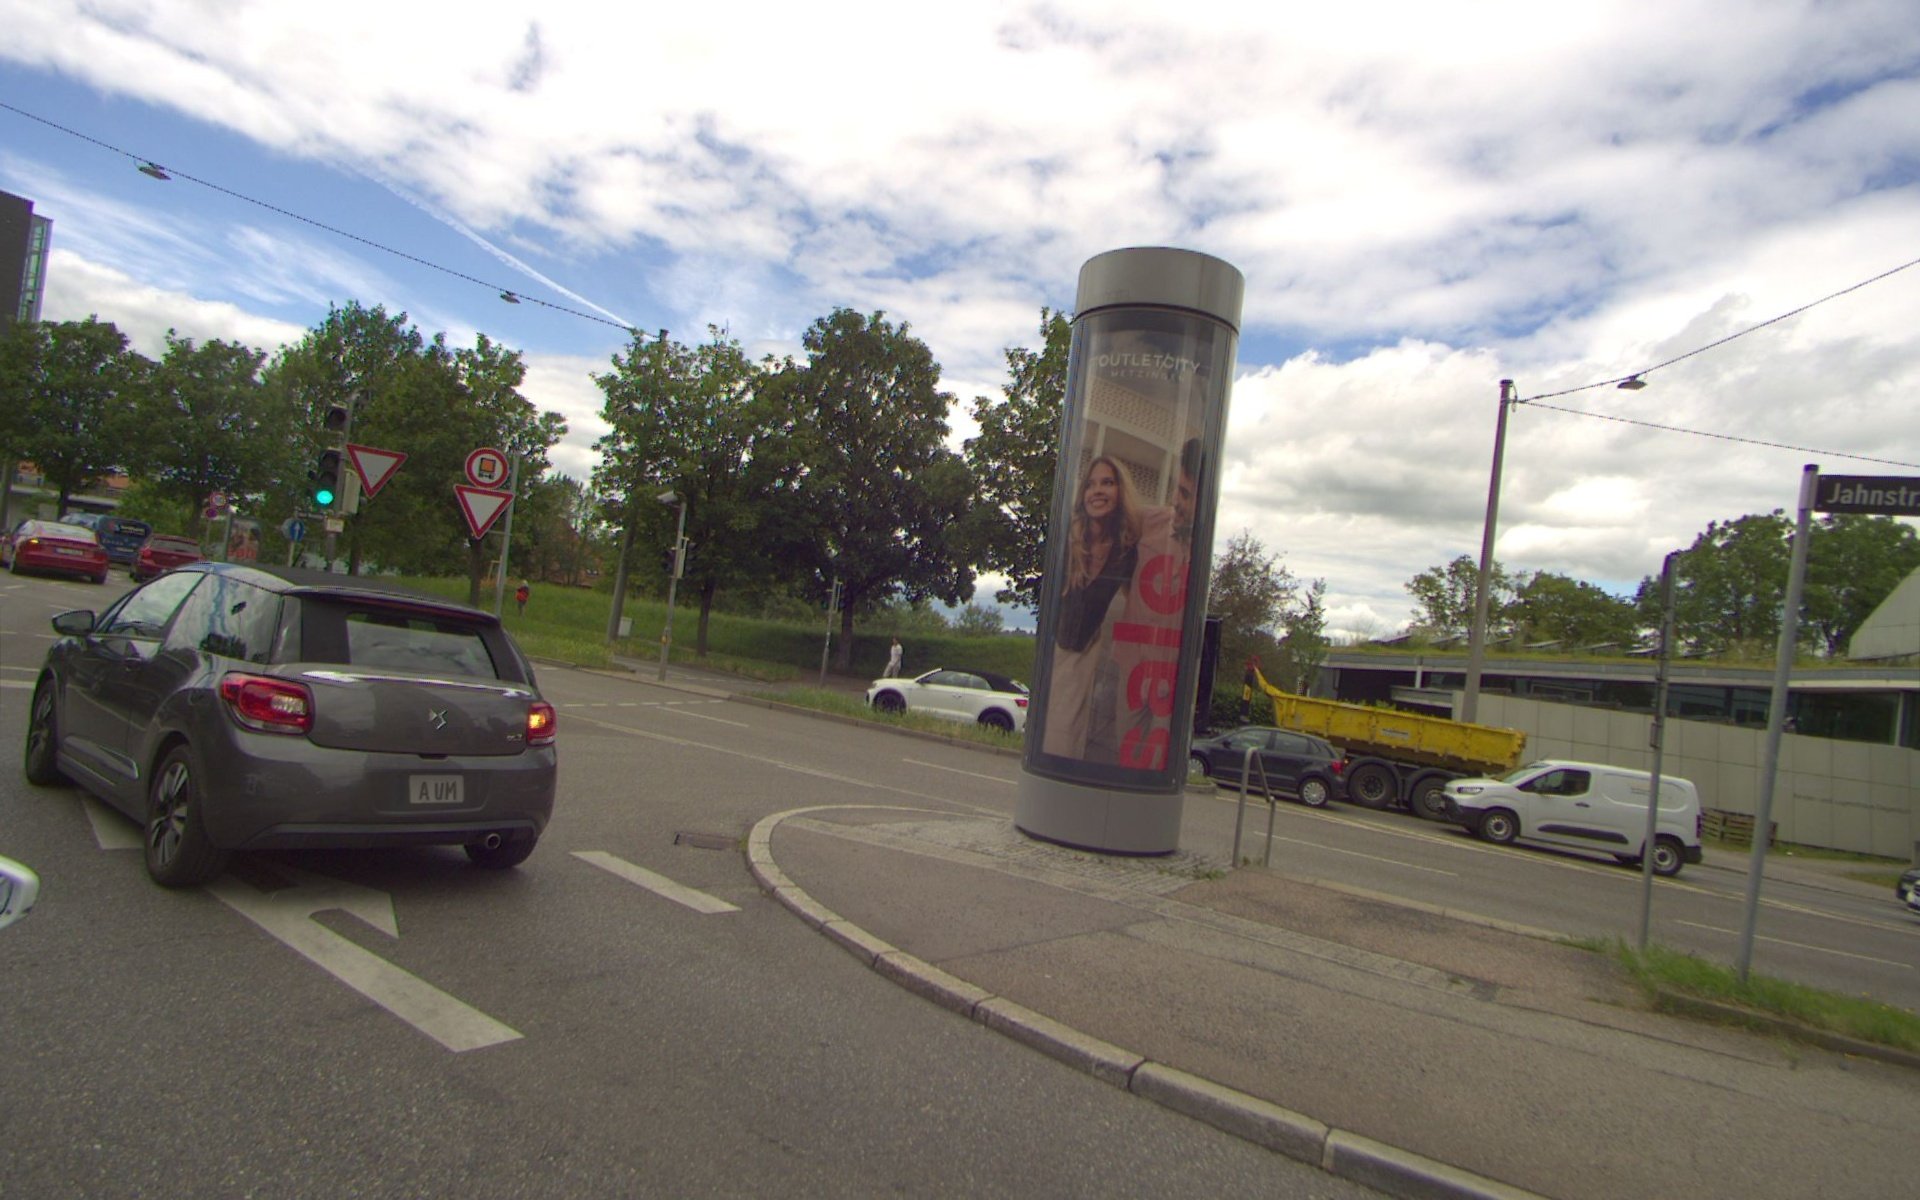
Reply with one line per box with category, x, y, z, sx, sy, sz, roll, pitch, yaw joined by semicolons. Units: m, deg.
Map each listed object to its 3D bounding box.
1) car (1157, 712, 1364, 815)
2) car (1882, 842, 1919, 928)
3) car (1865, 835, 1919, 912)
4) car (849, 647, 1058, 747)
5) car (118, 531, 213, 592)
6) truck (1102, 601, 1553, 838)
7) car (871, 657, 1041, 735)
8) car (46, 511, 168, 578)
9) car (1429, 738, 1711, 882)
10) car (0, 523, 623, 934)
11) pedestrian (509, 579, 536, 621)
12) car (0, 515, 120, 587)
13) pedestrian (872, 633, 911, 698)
car;6.345;3.410;21.415;3.903;1.389;1.657;8;-3;18
car;19.101;5.411;17.420;4.206;1.391;1.759;8;-3;12
car;21.595;6.008;20.747;3.909;1.347;1.689;8;-3;16
car;-0.139;2.266;23.727;4.404;1.546;1.859;8;-3;18
car;-24.745;-1.217;31.275;3.671;1.497;1.742;5;-4;45
truck;8.480;2.694;24.293;9.280;3.968;2.833;7;-3;17
car;-0.076;2.619;27.487;4.080;1.458;1.993;7;-3;18
car;-31.525;-2.065;37.147;4.631;1.879;1.907;6;-3;31
car;11.695;3.997;19.607;4.206;1.816;1.759;8;-3;16
car;-3.954;0.519;5.820;4.001;1.477;1.703;6;-4;37
pedestrian;-17.736;0.011;40.769;0.689;1.626;0.542;7;4;15
car;-24.019;-1.325;26.633;4.380;1.433;1.873;6;-4;40
pedestrian;-2.144;2.055;31.532;0.752;1.941;0.580;7;2;-43
